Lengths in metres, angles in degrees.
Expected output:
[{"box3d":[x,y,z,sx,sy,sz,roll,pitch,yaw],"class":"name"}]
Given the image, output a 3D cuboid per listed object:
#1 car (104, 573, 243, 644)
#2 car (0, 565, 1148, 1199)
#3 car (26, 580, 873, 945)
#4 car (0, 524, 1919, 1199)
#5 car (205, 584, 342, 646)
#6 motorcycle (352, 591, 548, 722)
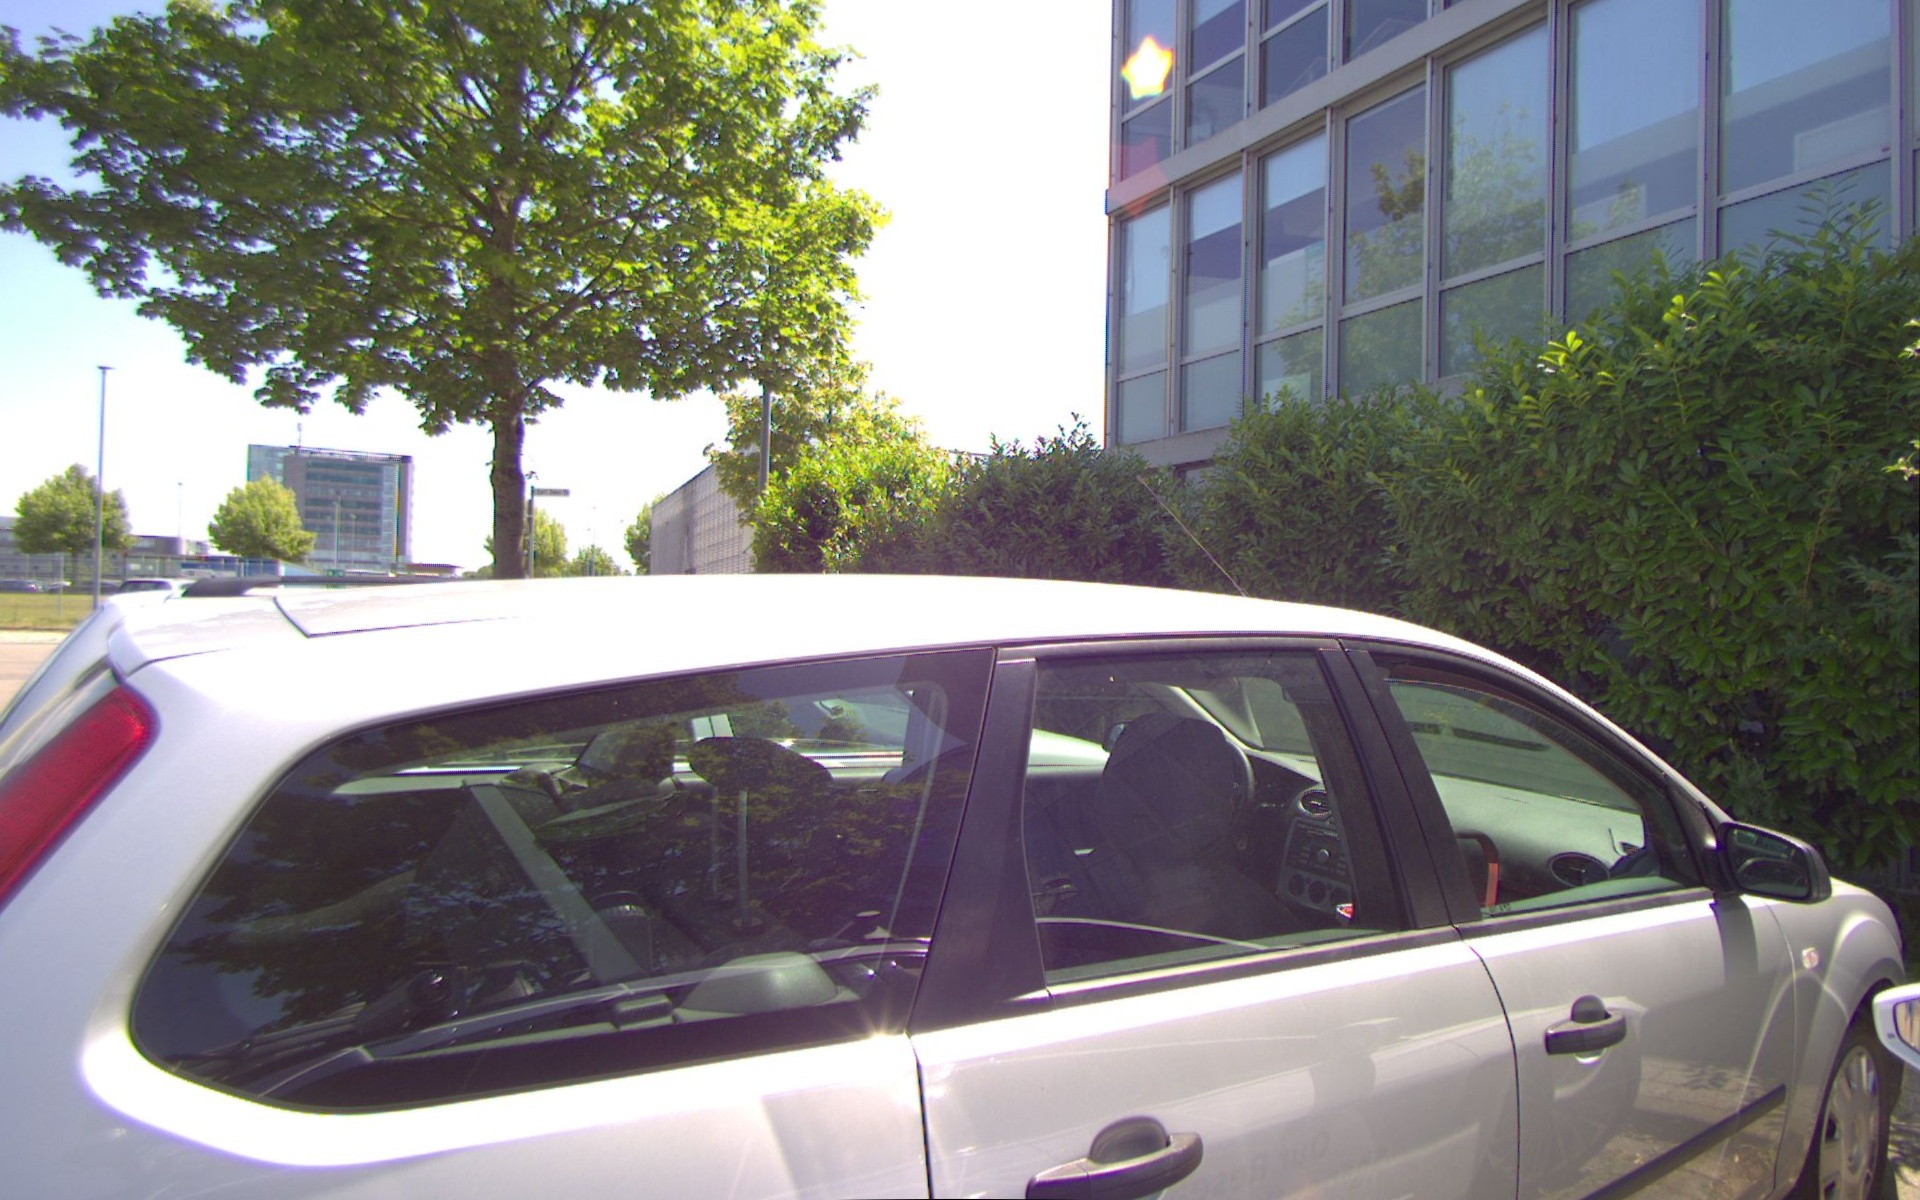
[{"box3d":[-21.143,0.222,27.196,1.745,1.761,3.982,1,0,-20],"class":"car"},{"box3d":[-1.282,0.699,3.745,3.851,1.499,1.637,1,0,-34],"class":"car"},{"box3d":[-2.589,0.688,5.802,3.851,1.468,1.637,1,0,-34],"class":"car"},{"box3d":[0.369,0.734,2.128,4.299,1.499,1.710,1,0,-31],"class":"car"},{"box3d":[-18.723,0.393,27.611,1.624,1.542,3.991,1,0,-11],"class":"car"},{"box3d":[-5.851,0.621,11.601,1.969,1.408,0.480,1,0,-34],"class":"motorcycle"}]
